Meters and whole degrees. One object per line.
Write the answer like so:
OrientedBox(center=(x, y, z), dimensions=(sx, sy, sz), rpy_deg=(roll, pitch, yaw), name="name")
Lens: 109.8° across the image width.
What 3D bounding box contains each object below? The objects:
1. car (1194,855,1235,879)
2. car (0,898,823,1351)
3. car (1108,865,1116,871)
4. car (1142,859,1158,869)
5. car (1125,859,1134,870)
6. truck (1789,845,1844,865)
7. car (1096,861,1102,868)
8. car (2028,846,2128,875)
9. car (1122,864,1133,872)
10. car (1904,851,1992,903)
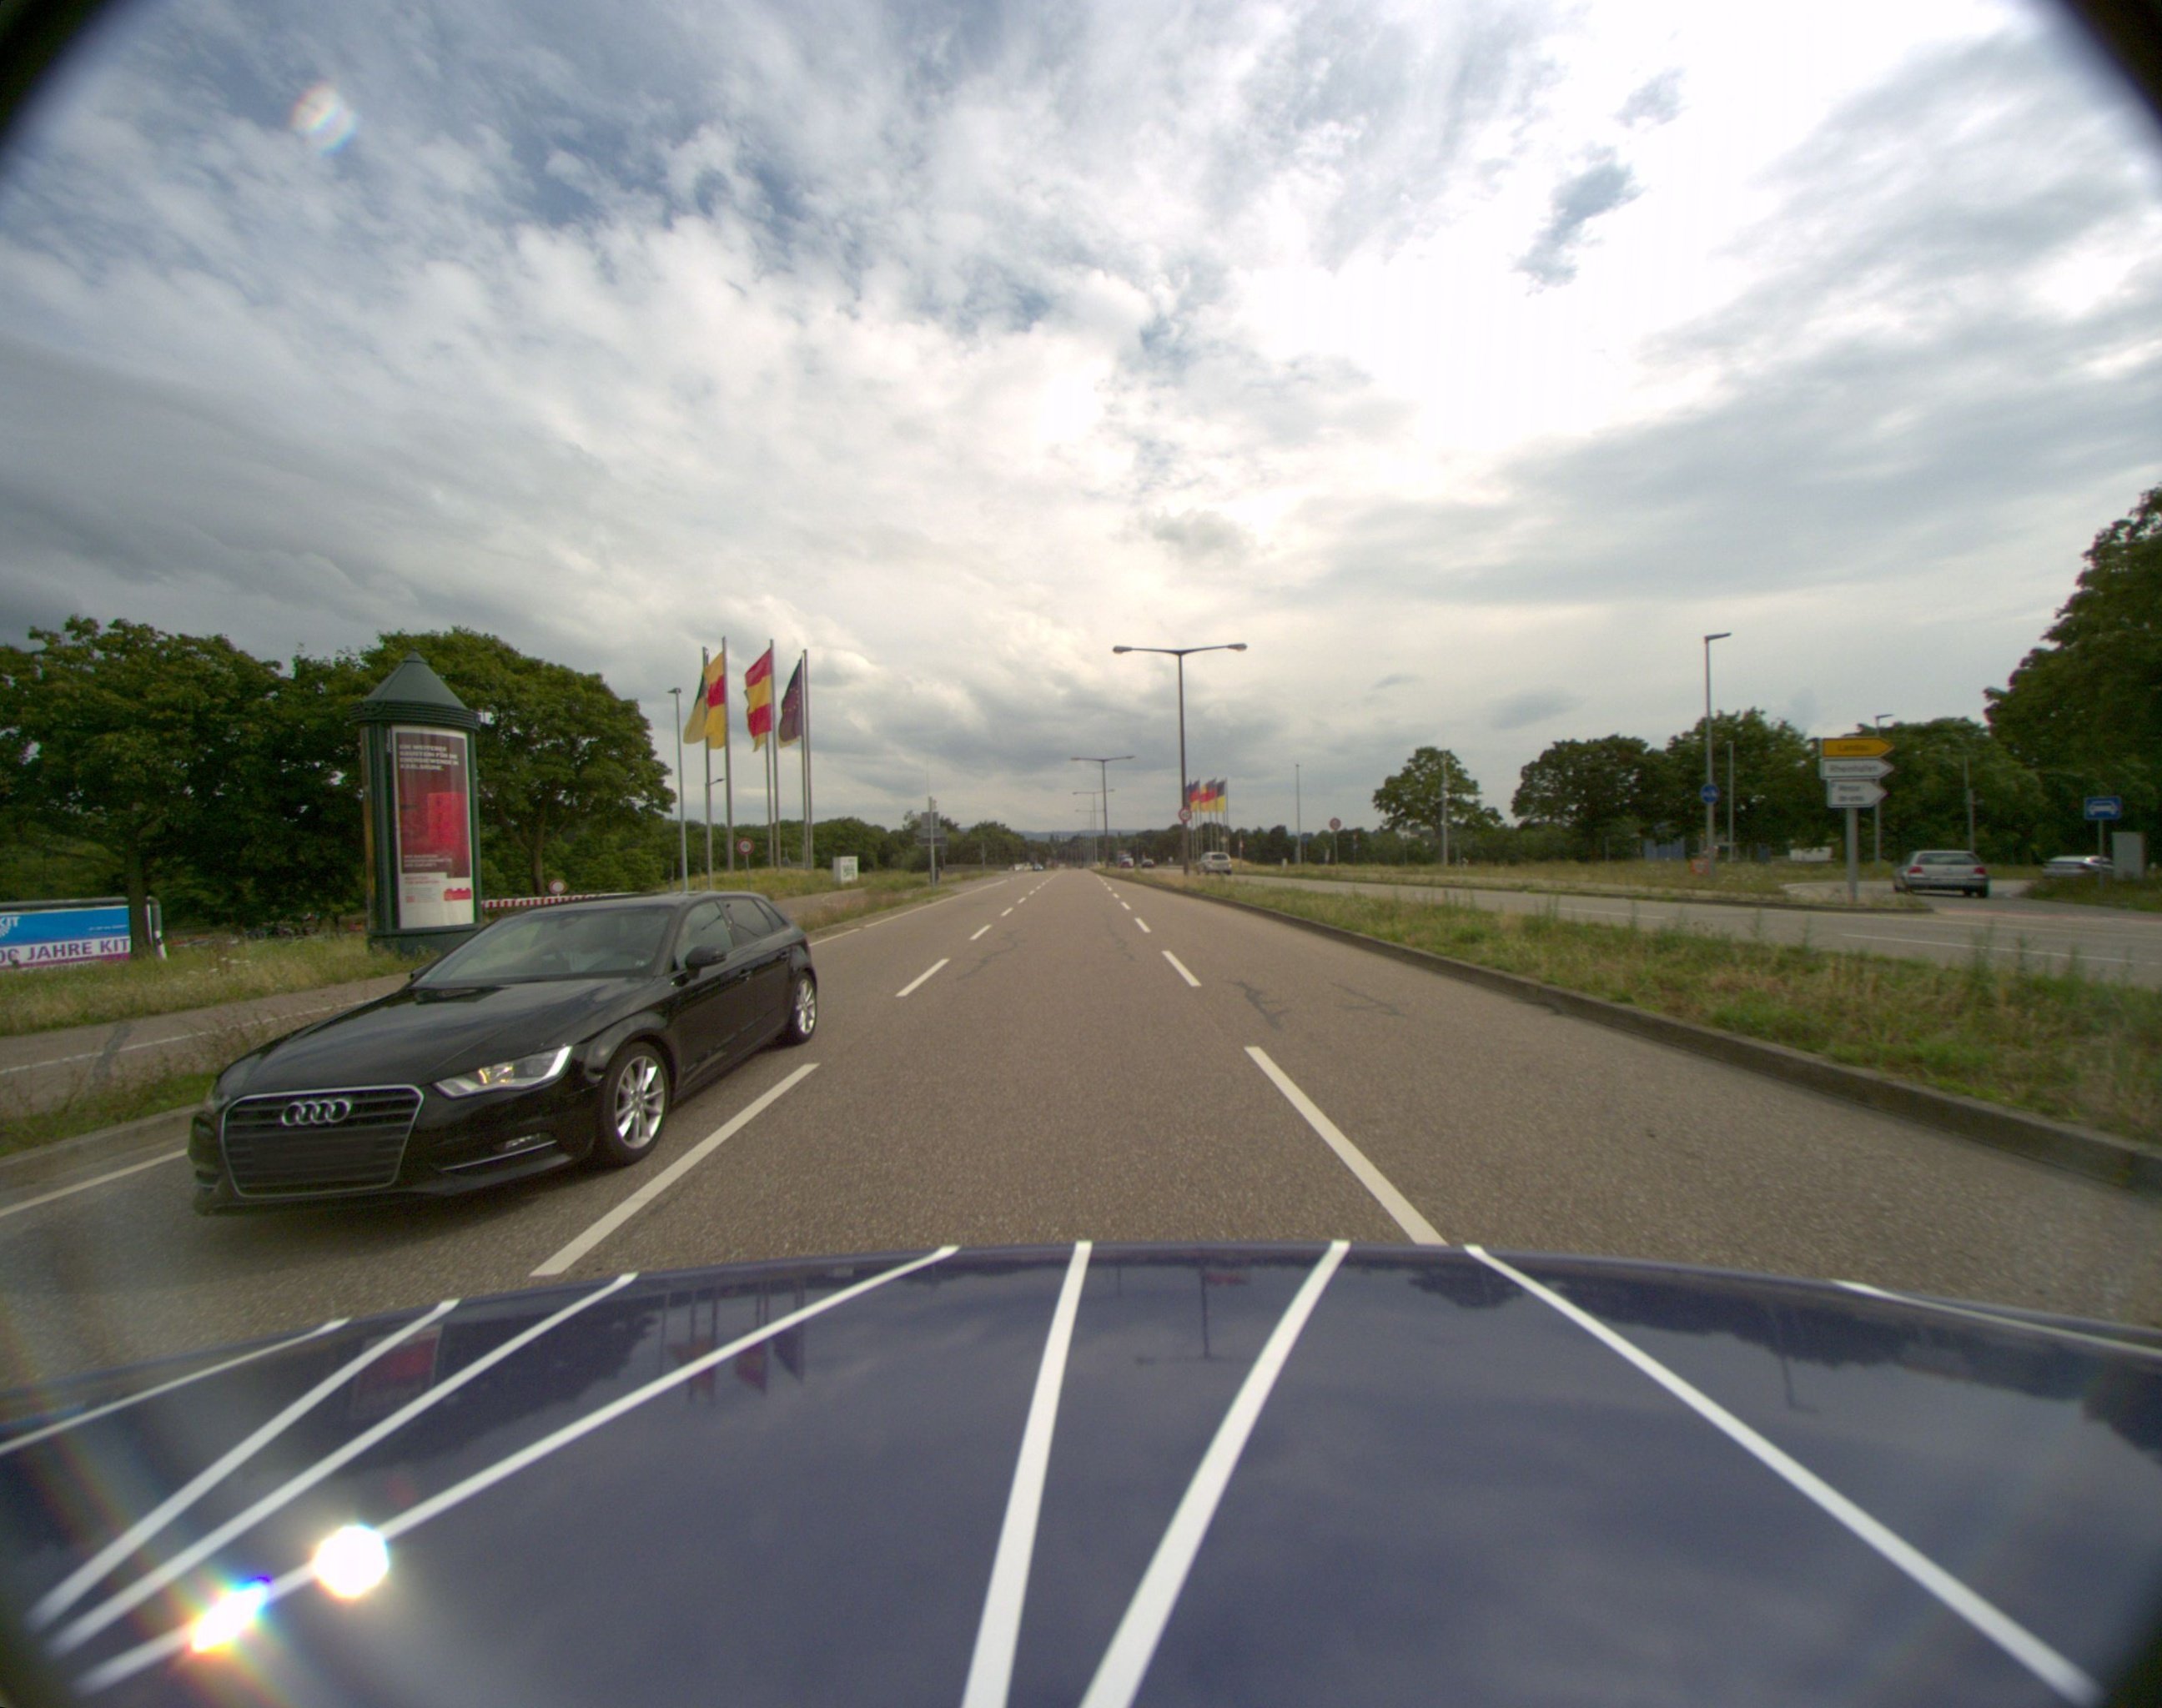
OrientedBox(center=(9.543, 0.914, 54.636), dimensions=(1.750, 1.589, 4.563), rpy_deg=(-1, -1, -5), name="car")
OrientedBox(center=(-3.219, 1.119, 4.886), dimensions=(1.735, 1.387, 4.114), rpy_deg=(-3, 0, -1), name="car")
OrientedBox(center=(8.186, 3.602, 200.885), dimensions=(1.751, 1.576, 4.587), rpy_deg=(0, -1, 1), name="car")
OrientedBox(center=(10.631, 1.494, 117.378), dimensions=(1.750, 1.467, 4.564), rpy_deg=(-1, -1, -2), name="car")
OrientedBox(center=(11.733, 2.593, 183.253), dimensions=(2.057, 2.627, 6.403), rpy_deg=(0, -1, 4), name="car")
OrientedBox(center=(173.305, 0.283, 179.013), dimensions=(14.016, 4.317, 3.026), rpy_deg=(-2, 0, -17), name="truck")
OrientedBox(center=(4.776, 2.776, 203.787), dimensions=(1.544, 1.860, 3.571), rpy_deg=(0, -1, 1), name="car")
OrientedBox(center=(51.823, 0.332, 39.502), dimensions=(4.464, 1.438, 1.748), rpy_deg=(-1, -1, -18), name="car")
OrientedBox(center=(8.638, 2.604, 140.914), dimensions=(1.656, 1.565, 4.338), rpy_deg=(0, -1, -2), name="car")
OrientedBox(center=(27.476, 0.676, 24.183), dimensions=(4.100, 1.411, 1.666), rpy_deg=(-2, 0, -43), name="car")
